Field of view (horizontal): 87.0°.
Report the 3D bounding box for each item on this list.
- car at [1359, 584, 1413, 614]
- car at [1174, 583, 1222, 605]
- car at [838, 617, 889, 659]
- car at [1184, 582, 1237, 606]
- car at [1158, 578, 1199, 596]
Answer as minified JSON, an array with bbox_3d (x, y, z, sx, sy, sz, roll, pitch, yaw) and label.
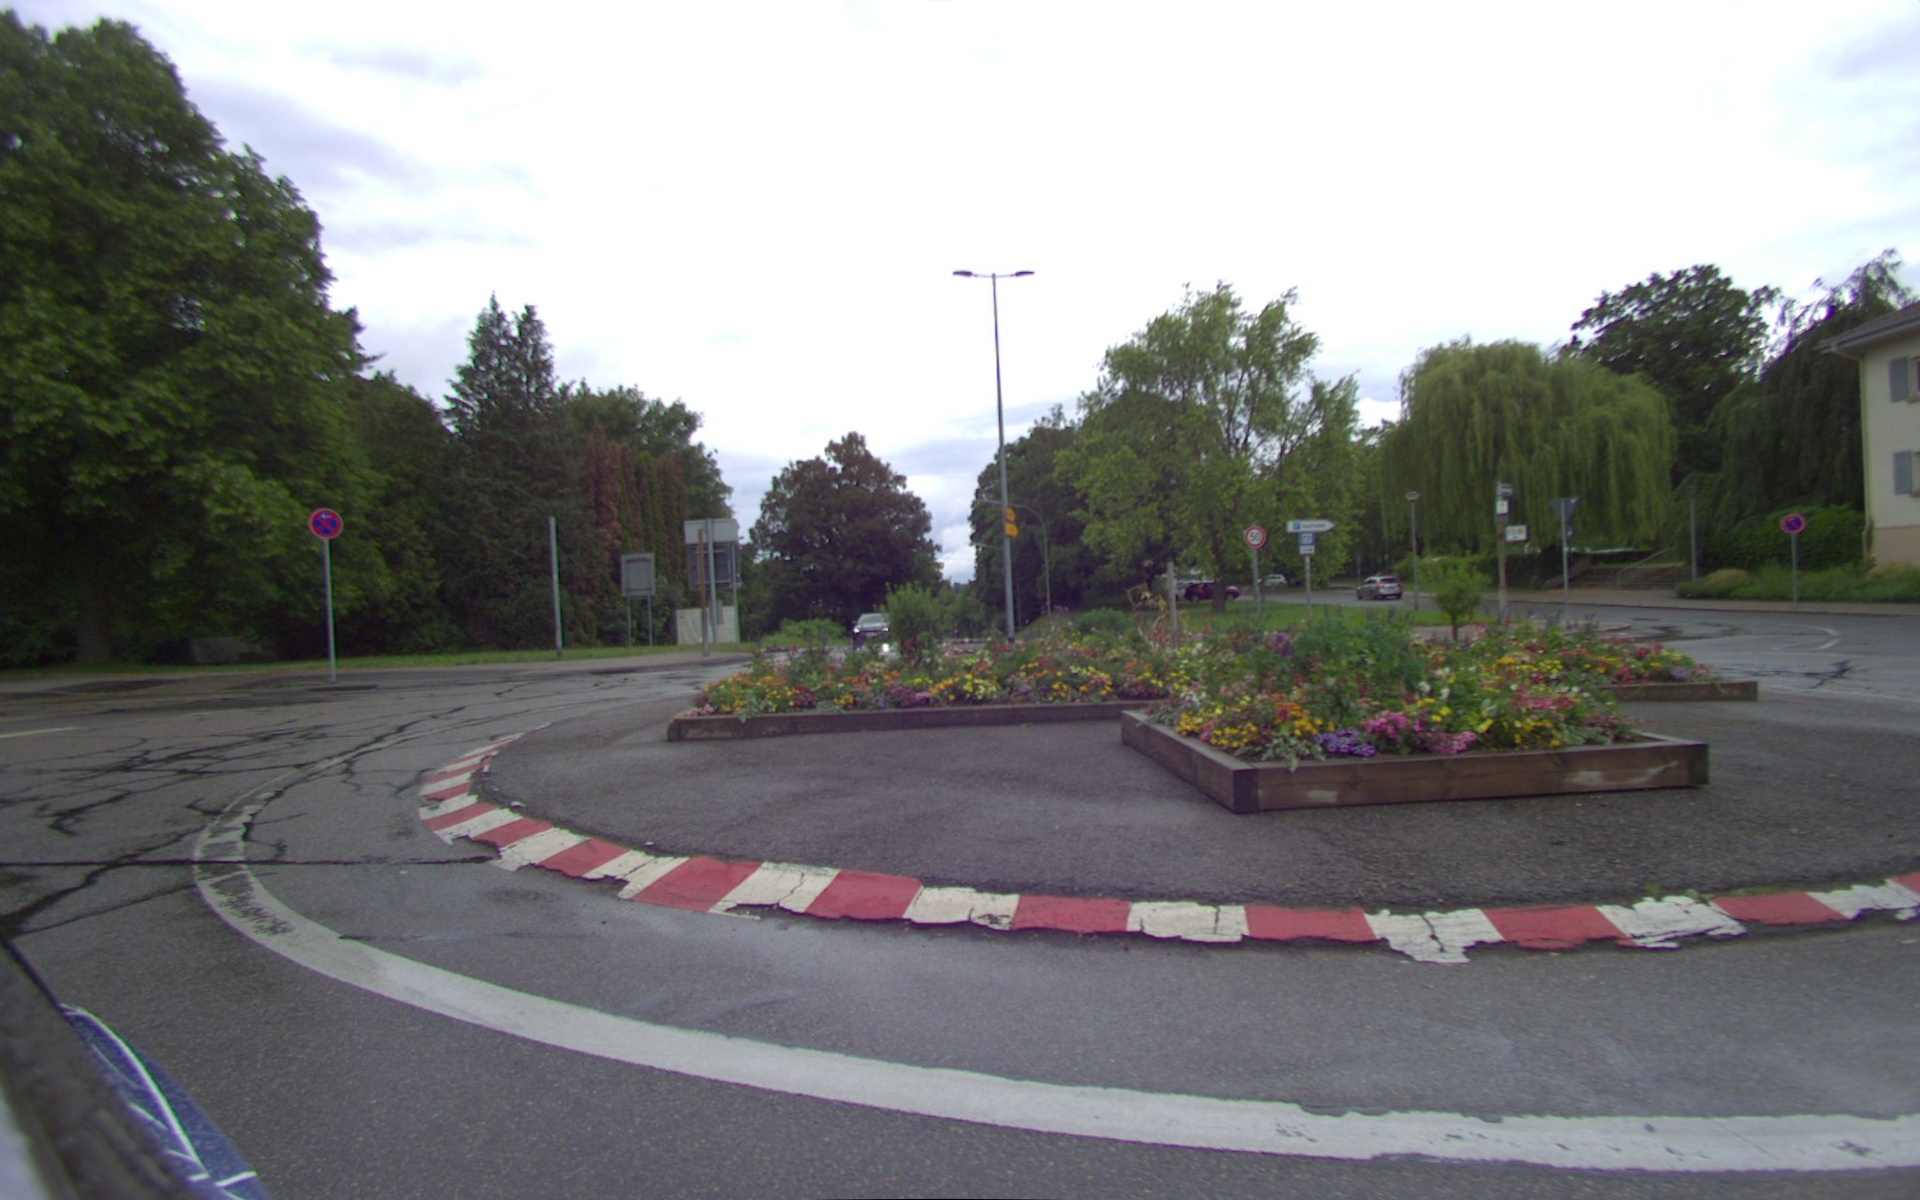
[{"bbox_3d":[27.032,-0.094,64.364,1.975,1.754,4.138,-1,2,5],"label":"car"},{"bbox_3d":[19.217,-0.478,81.833,3.595,1.606,1.801,-1,2,9],"label":"car"},{"bbox_3d":[-4.069,1.596,43.258,1.691,1.430,3.999,-1,2,1],"label":"car"},{"bbox_3d":[18.373,-0.464,74.341,3.595,1.606,1.801,-1,2,9],"label":"car"},{"bbox_3d":[20.518,-1.223,95.148,3.595,1.606,1.801,-1,2,9],"label":"car"}]
